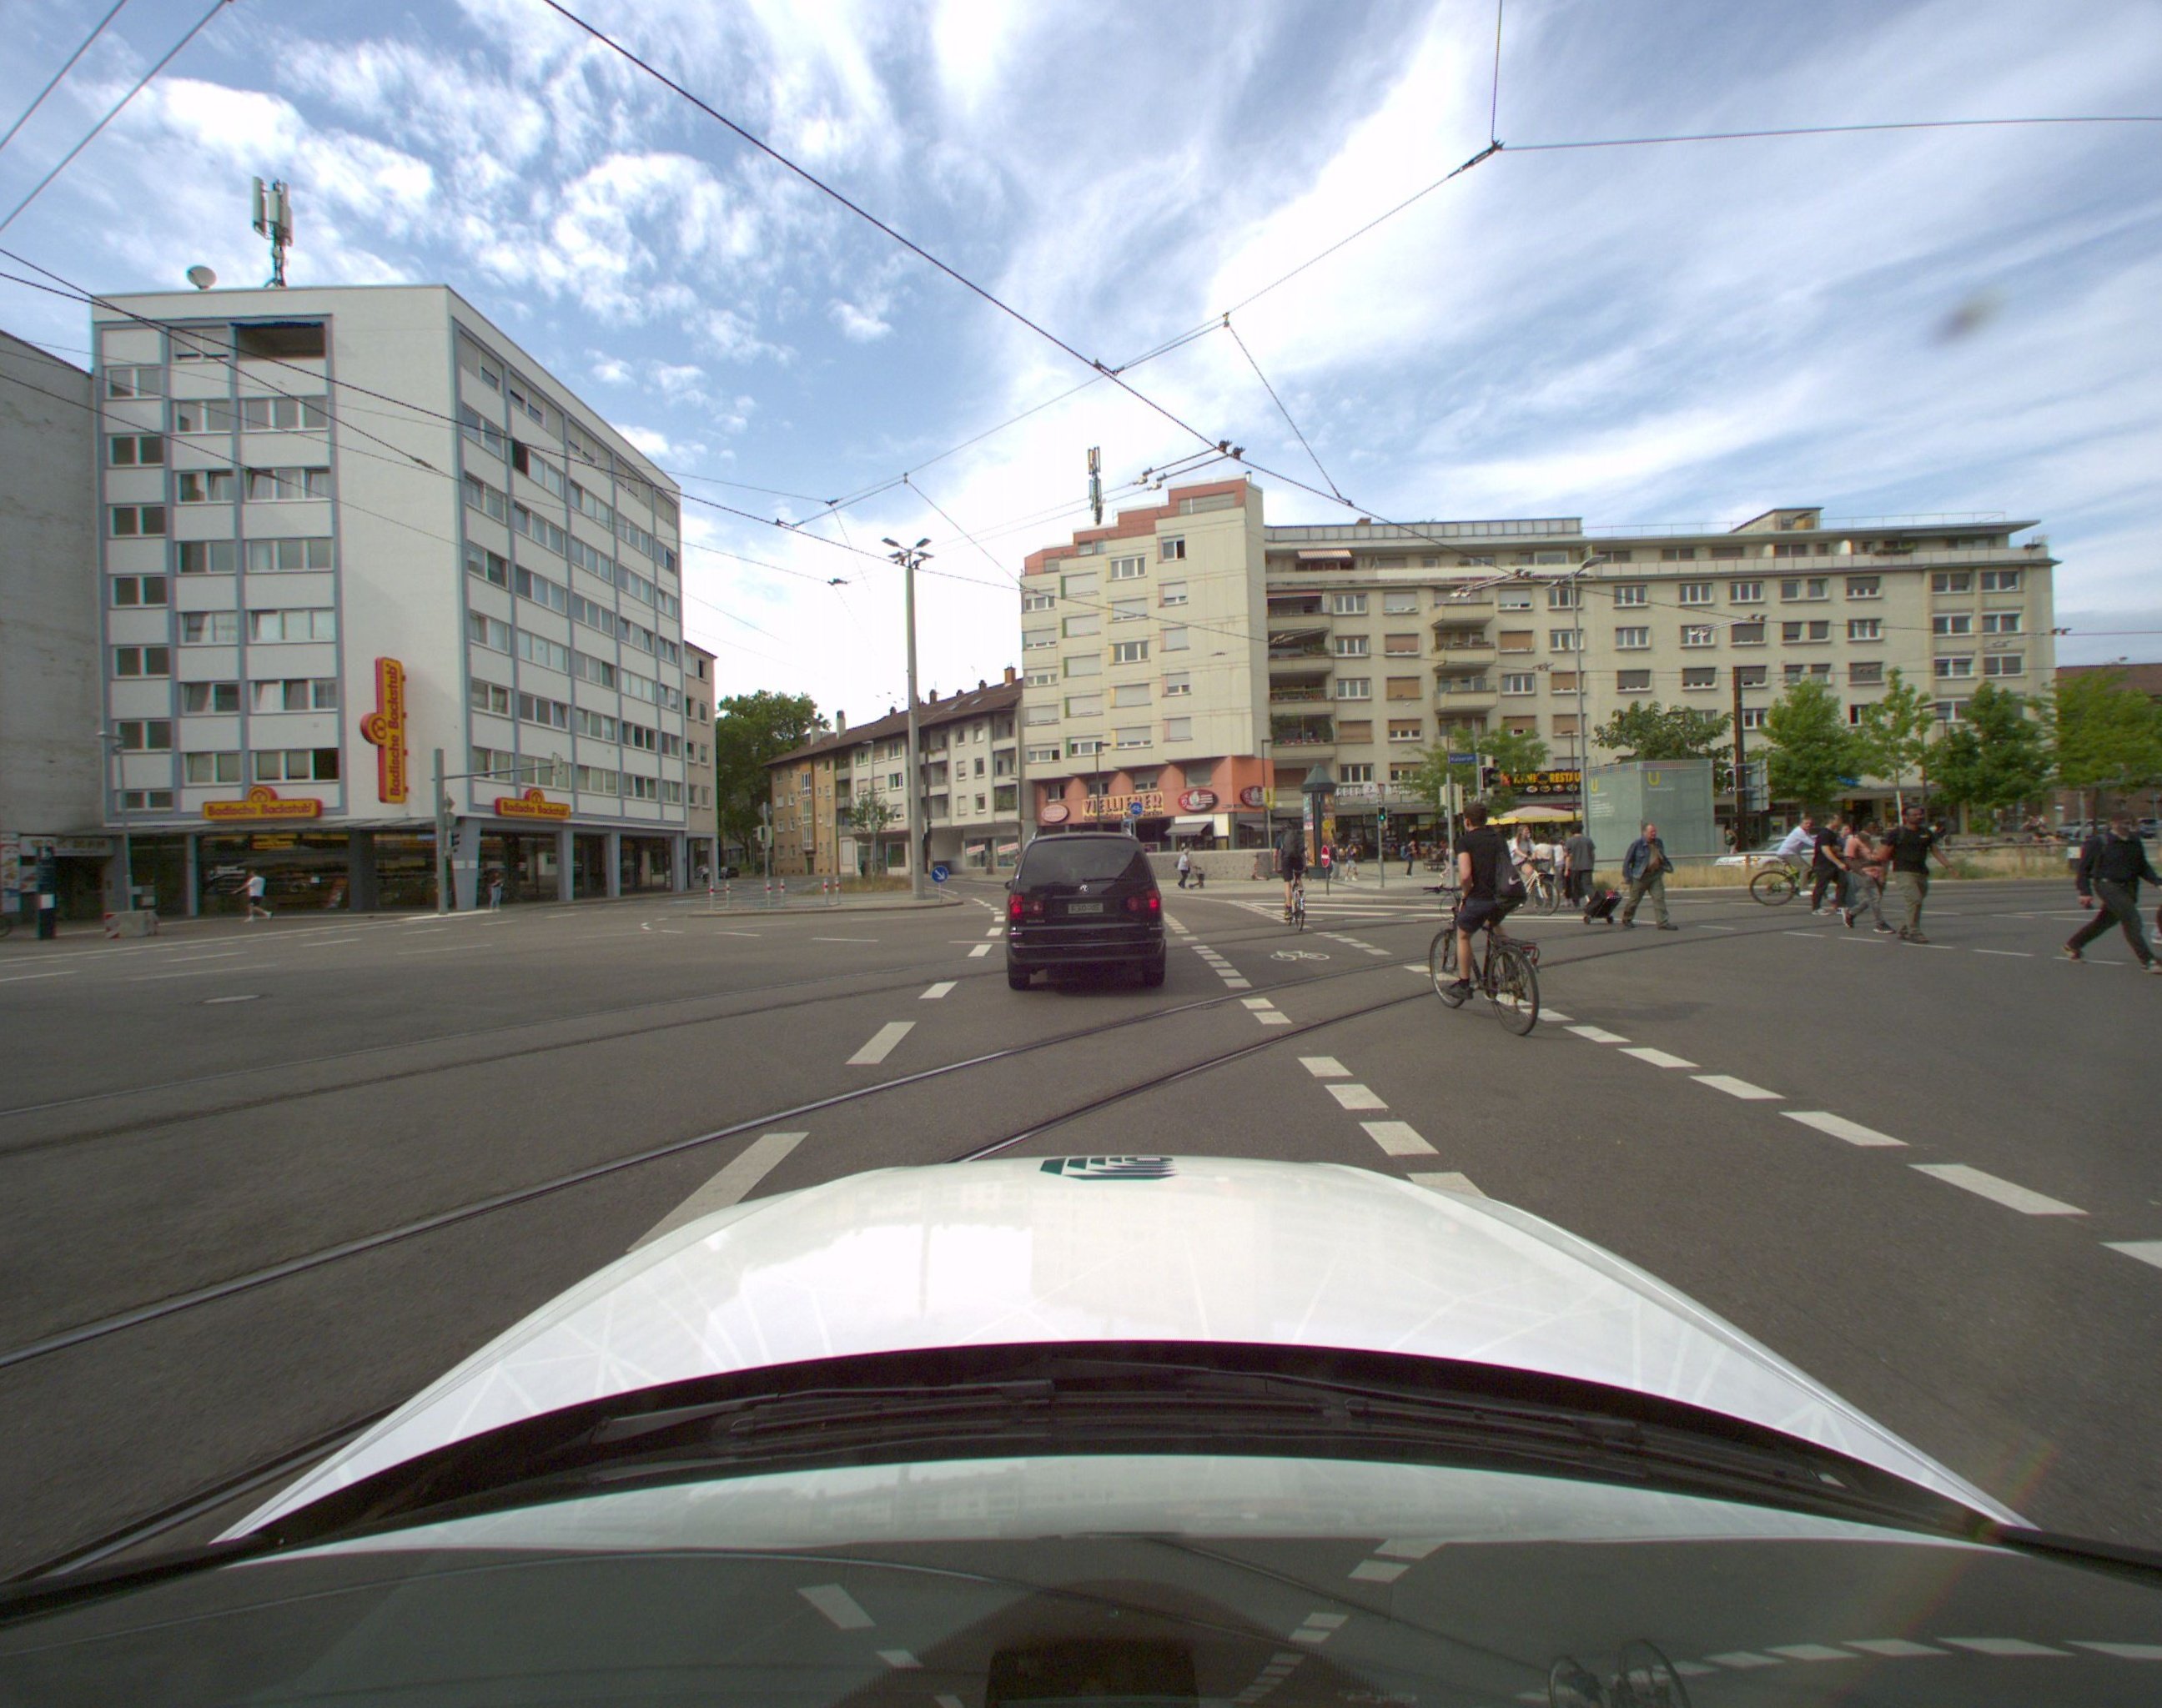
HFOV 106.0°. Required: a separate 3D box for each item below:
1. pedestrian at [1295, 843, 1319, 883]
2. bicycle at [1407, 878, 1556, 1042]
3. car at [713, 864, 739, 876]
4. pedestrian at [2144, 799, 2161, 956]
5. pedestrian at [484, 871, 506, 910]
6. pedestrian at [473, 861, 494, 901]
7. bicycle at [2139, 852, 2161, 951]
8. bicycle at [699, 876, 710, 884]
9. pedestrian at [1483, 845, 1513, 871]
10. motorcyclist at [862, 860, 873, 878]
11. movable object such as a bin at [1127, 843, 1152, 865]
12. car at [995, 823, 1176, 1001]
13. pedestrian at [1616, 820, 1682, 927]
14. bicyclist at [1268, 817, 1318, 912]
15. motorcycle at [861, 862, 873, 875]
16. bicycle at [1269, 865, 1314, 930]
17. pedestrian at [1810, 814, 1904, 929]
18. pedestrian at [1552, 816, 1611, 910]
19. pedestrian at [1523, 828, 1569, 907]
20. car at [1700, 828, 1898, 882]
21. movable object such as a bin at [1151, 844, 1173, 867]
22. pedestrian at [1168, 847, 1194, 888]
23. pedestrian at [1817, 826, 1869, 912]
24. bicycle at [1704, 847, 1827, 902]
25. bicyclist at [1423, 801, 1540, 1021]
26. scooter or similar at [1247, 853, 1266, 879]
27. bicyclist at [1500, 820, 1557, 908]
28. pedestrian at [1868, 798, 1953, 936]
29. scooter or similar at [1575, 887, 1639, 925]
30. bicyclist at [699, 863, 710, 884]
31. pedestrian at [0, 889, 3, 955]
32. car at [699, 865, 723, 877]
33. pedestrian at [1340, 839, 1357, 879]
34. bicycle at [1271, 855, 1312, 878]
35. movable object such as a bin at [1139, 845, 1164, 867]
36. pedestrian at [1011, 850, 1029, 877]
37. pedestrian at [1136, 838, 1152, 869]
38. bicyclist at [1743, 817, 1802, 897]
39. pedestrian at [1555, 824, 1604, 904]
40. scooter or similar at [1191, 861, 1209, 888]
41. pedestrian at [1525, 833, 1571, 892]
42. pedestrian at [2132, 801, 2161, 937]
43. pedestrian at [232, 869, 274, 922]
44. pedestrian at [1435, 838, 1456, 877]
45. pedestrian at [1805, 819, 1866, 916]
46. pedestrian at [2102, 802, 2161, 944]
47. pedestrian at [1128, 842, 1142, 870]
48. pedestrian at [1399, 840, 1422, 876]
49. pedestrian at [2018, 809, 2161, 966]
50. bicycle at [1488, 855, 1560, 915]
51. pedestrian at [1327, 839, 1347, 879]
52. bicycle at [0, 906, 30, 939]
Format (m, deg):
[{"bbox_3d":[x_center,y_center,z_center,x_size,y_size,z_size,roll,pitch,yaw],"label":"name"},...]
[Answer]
[{"bbox_3d":[9.670,0.383,34.870,0.800,1.680,0.627,-2,0,3],"label":"pedestrian"},{"bbox_3d":[3.357,0.813,7.014,0.404,1.122,2.020,-2,1,4],"label":"bicycle"},{"bbox_3d":[-44.401,2.029,101.867,1.673,1.422,3.819,-2,1,-44],"label":"car"},{"bbox_3d":[11.843,0.245,8.492,0.517,1.686,0.726,-2,0,2],"label":"pedestrian"},{"bbox_3d":[-23.701,1.462,32.938,0.497,1.559,0.518,-2,0,0],"label":"pedestrian"},{"bbox_3d":[-26.893,1.218,36.658,0.474,1.765,0.589,-2,0,1],"label":"pedestrian"},{"bbox_3d":[12.312,0.538,8.417,0.395,1.110,1.831,-2,0,2],"label":"bicycle"},{"bbox_3d":[-31.171,2.140,67.436,0.487,0.588,1.976,-2,0,-35],"label":"bicycle"},{"bbox_3d":[20.149,0.201,39.363,1.026,1.245,0.935,0,0,4],"label":"pedestrian"},{"bbox_3d":[-16.606,1.161,63.303,0.528,1.312,0.669,-2,0,-42],"label":"motorcyclist"},{"bbox_3d":[3.961,0.018,55.236,1.156,1.460,1.209,-2,0,-45],"label":"movable object such as a bin"},{"bbox_3d":[-0.033,0.572,10.178,1.808,1.766,3.734,-2,0,-3],"label":"car"},{"bbox_3d":[9.269,0.303,13.305,0.636,1.687,0.600,-2,0,1],"label":"pedestrian"},{"bbox_3d":[3.970,0.190,15.309,0.695,1.709,0.908,-2,0,2],"label":"bicyclist"},{"bbox_3d":[-16.680,1.139,63.354,0.341,1.007,1.250,-2,0,-42],"label":"motorcycle"},{"bbox_3d":[3.938,0.781,15.342,0.389,1.122,1.921,-2,0,2],"label":"bicycle"},{"bbox_3d":[11.573,0.248,12.171,0.539,1.651,0.893,-2,0,1],"label":"pedestrian"},{"bbox_3d":[10.264,0.172,16.724,0.636,1.854,0.877,-2,0,1],"label":"pedestrian"},{"bbox_3d":[10.176,0.294,17.845,0.467,1.686,0.795,-2,0,-3],"label":"pedestrian"},{"bbox_3d":[23.083,0.021,26.321,4.571,1.512,2.001,-2,0,2],"label":"car"},{"bbox_3d":[5.667,0.111,56.984,1.011,1.515,1.153,-2,0,-45],"label":"movable object such as a bin"},{"bbox_3d":[4.405,0.593,35.840,0.928,1.740,0.688,-2,0,15],"label":"pedestrian"},{"bbox_3d":[13.857,0.264,14.828,0.621,1.511,0.597,-1,0,39],"label":"pedestrian"},{"bbox_3d":[14.007,0.425,16.732,1.895,1.087,0.394,-2,0,37],"label":"bicycle"},{"bbox_3d":[3.315,0.448,6.802,0.556,1.709,0.864,-2,0,5],"label":"bicyclist"},{"bbox_3d":[8.341,0.560,38.714,0.286,1.212,1.117,-2,0,-22],"label":"scooter or similar"},{"bbox_3d":[9.021,0.193,16.444,0.638,1.709,0.863,-2,0,2],"label":"bicyclist"},{"bbox_3d":[11.143,0.169,10.953,0.539,1.797,0.561,-2,0,1],"label":"pedestrian"},{"bbox_3d":[8.990,0.879,13.950,0.506,0.574,0.813,-2,0,-8],"label":"scooter or similar"},{"bbox_3d":[-31.067,1.609,67.263,0.612,1.646,1.026,-2,0,-35],"label":"bicyclist"},{"bbox_3d":[-26.181,1.645,19.275,0.664,1.594,0.680,-2,0,-42],"label":"pedestrian"},{"bbox_3d":[-48.007,2.225,105.609,1.673,1.422,3.898,-2,1,-44],"label":"car"},{"bbox_3d":[11.721,0.218,35.687,0.591,1.737,0.415,-2,0,1],"label":"pedestrian"},{"bbox_3d":[10.155,0.583,39.181,2.461,1.013,0.538,-2,0,-40],"label":"bicycle"},{"bbox_3d":[4.852,0.133,56.138,1.204,1.515,1.182,-2,0,-45],"label":"movable object such as a bin"},{"bbox_3d":[-4.282,0.684,57.389,0.662,1.852,0.960,-5,2,-40],"label":"pedestrian"},{"bbox_3d":[3.967,-0.042,50.976,0.678,1.903,0.583,-5,2,-43],"label":"pedestrian"},{"bbox_3d":[14.202,0.066,16.754,0.851,1.603,0.647,-2,0,37],"label":"bicyclist"},{"bbox_3d":[10.928,0.210,17.870,0.631,1.695,0.706,-2,0,1],"label":"pedestrian"},{"bbox_3d":[5.221,0.893,35.650,0.695,1.110,0.611,-3,0,14],"label":"scooter or similar"},{"bbox_3d":[12.205,0.228,21.313,0.552,1.501,0.843,-2,-2,-15],"label":"pedestrian"},{"bbox_3d":[13.869,0.180,9.957,0.644,1.714,1.056,-2,0,1],"label":"pedestrian"},{"bbox_3d":[-29.890,1.489,29.409,0.859,1.859,0.581,-2,0,0],"label":"pedestrian"},{"bbox_3d":[15.792,0.150,35.253,0.674,1.641,0.440,-2,0,1],"label":"pedestrian"},{"bbox_3d":[13.307,0.222,14.385,0.712,1.647,0.711,-1,0,39],"label":"pedestrian"},{"bbox_3d":[13.140,0.216,9.881,0.644,1.688,0.651,-2,0,1],"label":"pedestrian"},{"bbox_3d":[3.345,0.111,50.513,0.477,1.672,0.583,-5,2,-43],"label":"pedestrian"},{"bbox_3d":[14.953,0.188,36.943,0.815,1.576,0.415,-2,0,2],"label":"pedestrian"},{"bbox_3d":[11.016,0.336,8.832,0.616,1.601,0.922,-2,0,1],"label":"pedestrian"},{"bbox_3d":[8.955,0.600,16.545,0.389,1.122,2.078,-2,0,2],"label":"bicycle"},{"bbox_3d":[11.349,0.204,36.127,0.697,1.737,0.415,-2,0,1],"label":"pedestrian"},{"bbox_3d":[-35.073,2.233,26.035,1.791,0.989,0.469,-2,0,-24],"label":"bicycle"}]
